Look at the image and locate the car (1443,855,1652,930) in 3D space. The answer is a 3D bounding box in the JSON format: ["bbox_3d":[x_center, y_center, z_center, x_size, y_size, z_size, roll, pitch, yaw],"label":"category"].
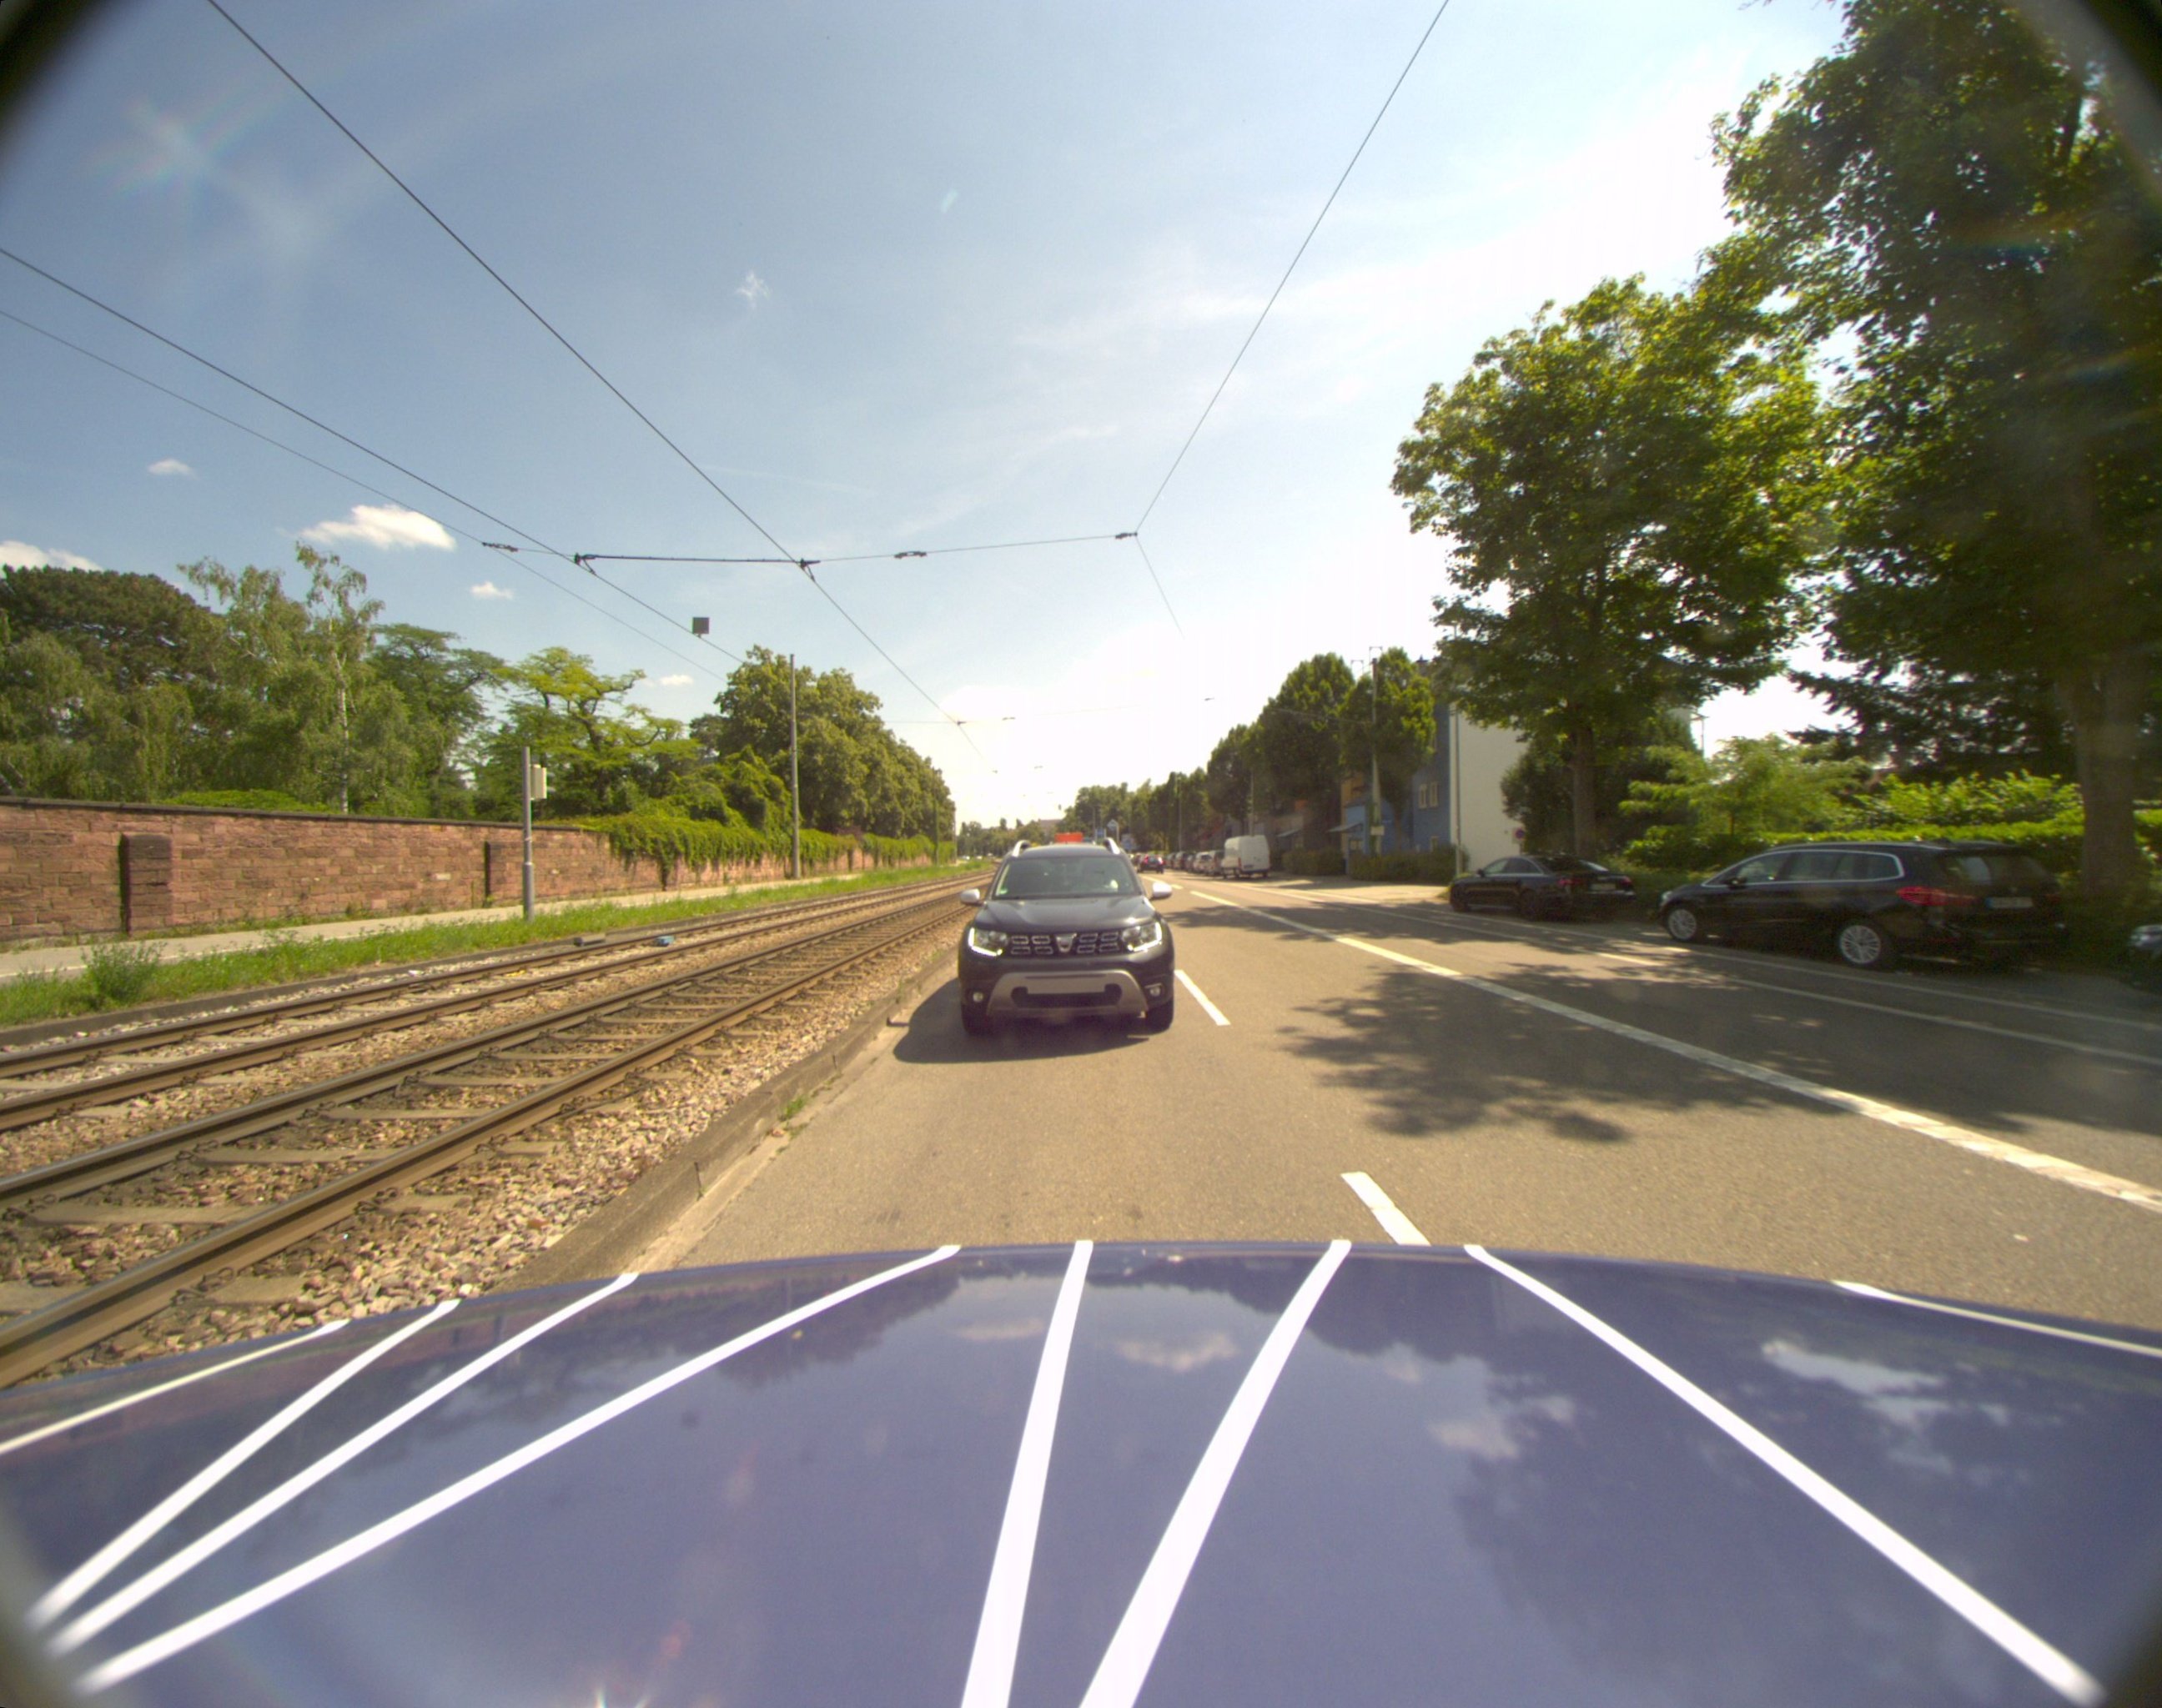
[{"bbox_3d":[10.467,0.780,17.574,1.779,1.447,4.803,-1,0,-2],"label":"car"}]

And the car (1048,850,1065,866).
[{"bbox_3d":[-3.312,0.556,100.751,1.999,2.002,3.998,-1,1,-5],"label":"car"}]

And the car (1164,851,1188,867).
[{"bbox_3d":[9.824,0.518,78.619,1.660,1.608,4.283,0,1,-3],"label":"car"}]

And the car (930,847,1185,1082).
[{"bbox_3d":[-0.201,0.782,7.936,1.802,1.652,4.786,-2,1,-1],"label":"car"}]

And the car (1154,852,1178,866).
[{"bbox_3d":[9.442,0.556,84.611,1.746,1.438,4.961,-2,0,-5],"label":"car"}]

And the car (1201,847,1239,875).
[{"bbox_3d":[10.386,0.499,57.204,1.811,1.884,5.361,-3,0,0],"label":"car"}]

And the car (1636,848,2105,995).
[{"bbox_3d":[10.569,0.749,10.844,1.779,1.595,4.636,-2,0,-2],"label":"car"}]

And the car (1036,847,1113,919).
[{"bbox_3d":[-0.169,0.690,20.529,1.801,1.683,4.143,-2,1,-1],"label":"car"}]

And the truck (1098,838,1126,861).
[{"bbox_3d":[4.856,-0.713,122.064,2.840,3.528,8.164,-3,0,-9],"label":"truck"}]

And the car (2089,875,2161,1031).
[{"bbox_3d":[10.671,0.883,4.995,1.779,1.365,4.696,-3,0,-2],"label":"car"}]

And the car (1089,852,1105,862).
[{"bbox_3d":[2.281,0.452,109.737,1.780,1.451,4.192,1,0,-6],"label":"car"}]

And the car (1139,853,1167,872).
[{"bbox_3d":[5.455,0.623,58.018,1.682,1.390,4.004,2,0,-2],"label":"car"}]

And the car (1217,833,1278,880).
[{"bbox_3d":[10.593,0.131,48.984,2.329,2.635,7.034,-4,0,1],"label":"car"}]

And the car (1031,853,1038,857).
[{"bbox_3d":[-14.874,0.308,241.512,2.000,1.379,3.997,0,0,-8],"label":"car"}]

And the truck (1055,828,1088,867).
[{"bbox_3d":[-1.039,-0.618,74.847,2.846,3.574,8.702,-1,1,-3],"label":"truck"}]

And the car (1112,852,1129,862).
[{"bbox_3d":[5.726,0.387,110.204,1.661,1.402,4.393,0,0,-8],"label":"car"}]

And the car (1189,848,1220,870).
[{"bbox_3d":[10.126,0.411,62.573,1.721,1.742,4.903,0,0,-1],"label":"car"}]

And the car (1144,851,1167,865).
[{"bbox_3d":[8.916,0.472,90.964,1.660,1.499,4.892,-3,1,-6],"label":"car"}]

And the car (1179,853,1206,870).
[{"bbox_3d":[9.946,0.628,68.047,1.603,1.462,4.086,-1,0,-2],"label":"car"}]

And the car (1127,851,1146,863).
[{"bbox_3d":[7.389,0.396,101.670,1.661,1.600,4.170,-1,0,-9],"label":"car"}]

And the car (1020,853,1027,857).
[{"bbox_3d":[-17.953,0.355,238.387,2.000,1.379,3.997,0,0,-8],"label":"car"}]

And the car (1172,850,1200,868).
[{"bbox_3d":[10.028,0.463,73.172,1.756,1.706,4.886,0,0,-3],"label":"car"}]
